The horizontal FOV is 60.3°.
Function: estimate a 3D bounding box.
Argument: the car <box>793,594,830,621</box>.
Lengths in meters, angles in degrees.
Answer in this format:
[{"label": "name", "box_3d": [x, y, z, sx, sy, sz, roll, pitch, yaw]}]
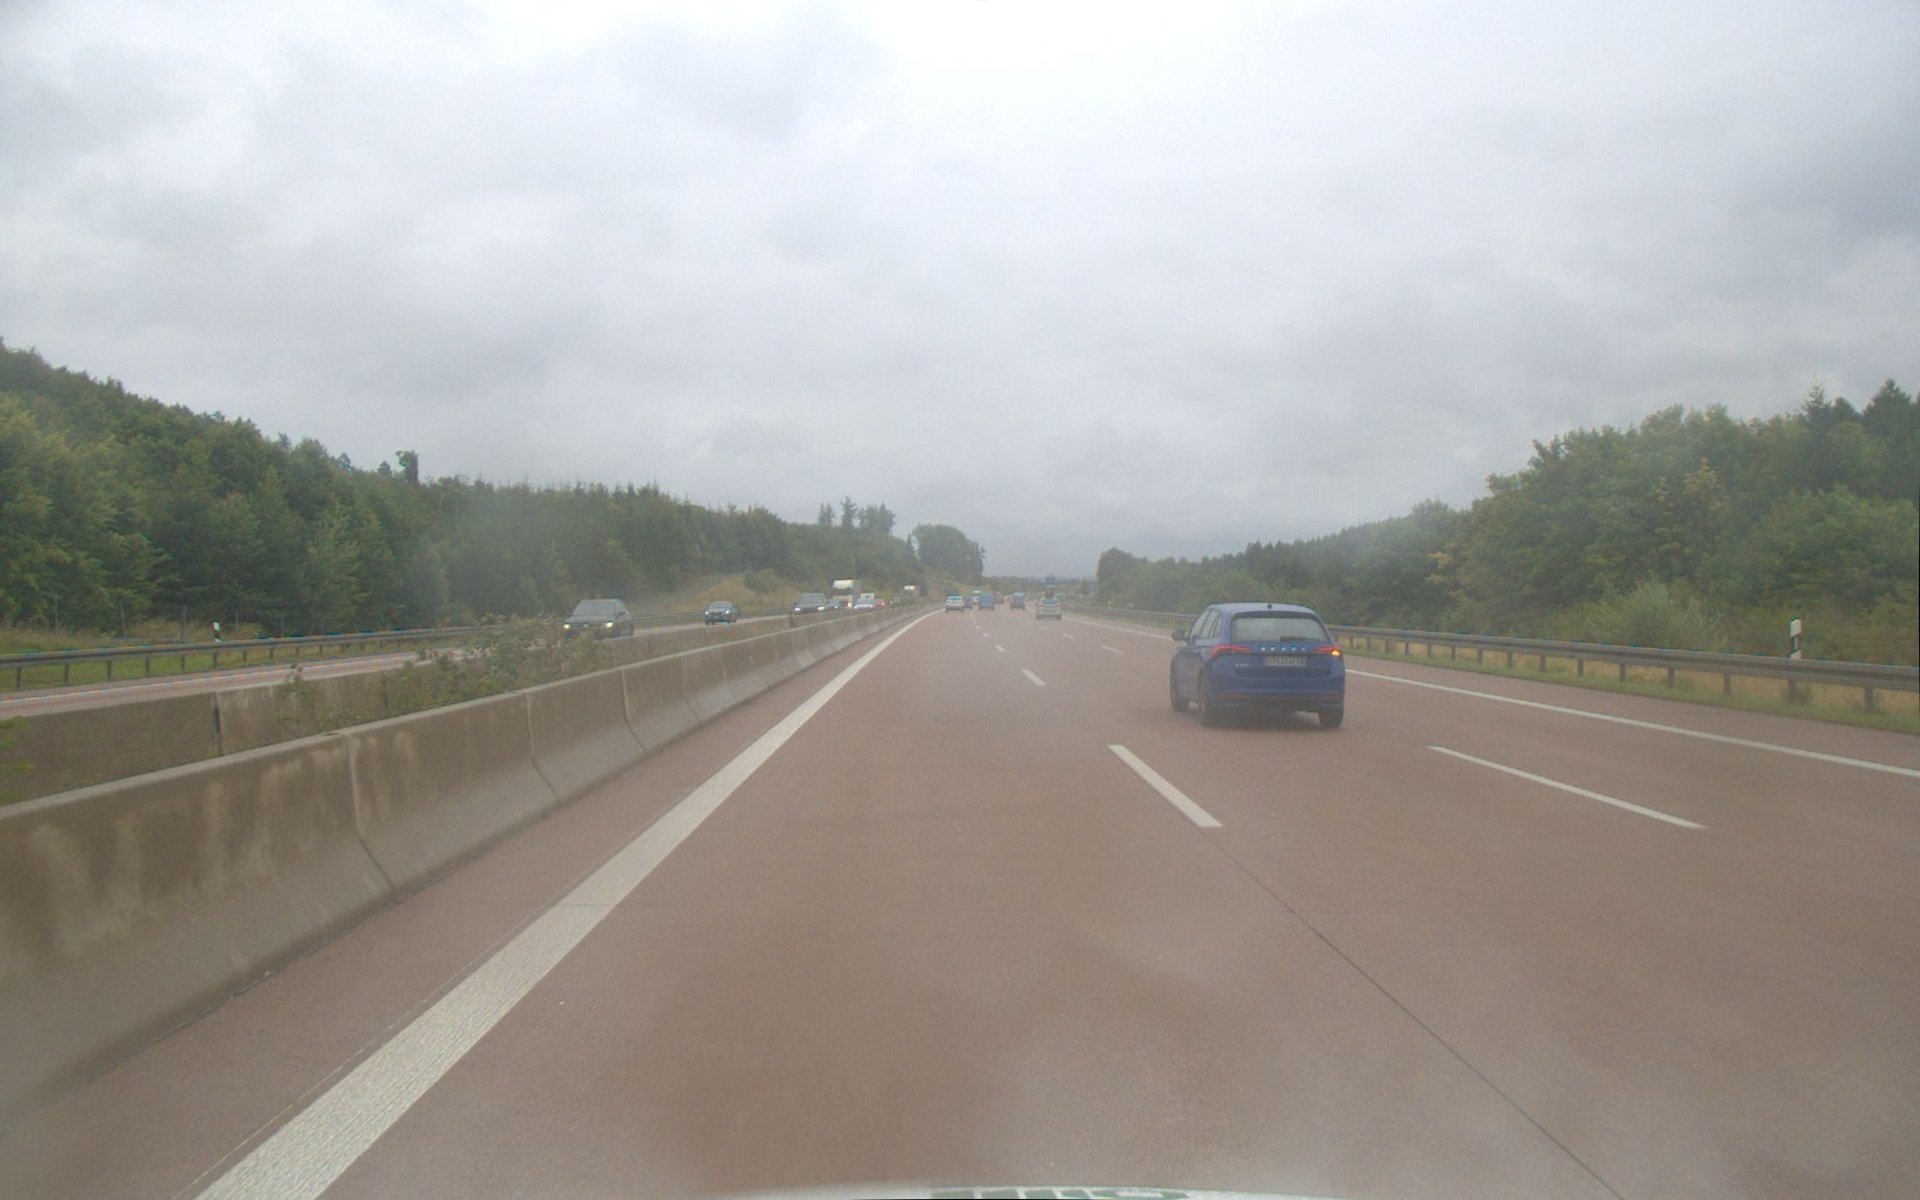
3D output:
[{"label": "car", "box_3d": [-9.014, 0.450, 100.851, 1.827, 1.578, 4.807, 1, 0, 0]}]

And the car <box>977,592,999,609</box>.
[{"label": "car", "box_3d": [3.277, 0.051, 192.424, 2.275, 1.780, 4.875, 1, -1, -2]}]

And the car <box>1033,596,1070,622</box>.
[{"label": "car", "box_3d": [6.650, 0.689, 121.203, 2.275, 1.780, 4.875, 1, -1, -2]}]

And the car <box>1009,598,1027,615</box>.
[{"label": "car", "box_3d": [7.336, 0.784, 207.832, 1.953, 2.049, 3.998, 1, -1, -2]}]

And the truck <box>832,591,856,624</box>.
[{"label": "truck", "box_3d": [-15.442, 1.039, 220.451, 2.712, 4.249, 6.000, -1, -1, 0]}]

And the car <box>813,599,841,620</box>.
[{"label": "car", "box_3d": [-12.840, 0.938, 159.679, 2.234, 1.894, 5.727, 1, -1, 0]}]

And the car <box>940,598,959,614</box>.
[{"label": "car", "box_3d": [-1.068, 0.582, 164.195, 1.836, 1.470, 4.875, 1, -1, -1]}]

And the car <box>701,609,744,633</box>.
[{"label": "car", "box_3d": [-16.648, 1.488, 116.263, 1.952, 1.587, 5.745, 1, -1, 2]}]

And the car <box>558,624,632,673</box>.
[{"label": "car", "box_3d": [-12.573, 1.655, 57.160, 1.681, 1.610, 4.314, -1, -1, -1]}]

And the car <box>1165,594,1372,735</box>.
[{"label": "car", "box_3d": [3.818, 0.779, 21.139, 1.735, 1.591, 4.144, 1, -1, -2]}]
